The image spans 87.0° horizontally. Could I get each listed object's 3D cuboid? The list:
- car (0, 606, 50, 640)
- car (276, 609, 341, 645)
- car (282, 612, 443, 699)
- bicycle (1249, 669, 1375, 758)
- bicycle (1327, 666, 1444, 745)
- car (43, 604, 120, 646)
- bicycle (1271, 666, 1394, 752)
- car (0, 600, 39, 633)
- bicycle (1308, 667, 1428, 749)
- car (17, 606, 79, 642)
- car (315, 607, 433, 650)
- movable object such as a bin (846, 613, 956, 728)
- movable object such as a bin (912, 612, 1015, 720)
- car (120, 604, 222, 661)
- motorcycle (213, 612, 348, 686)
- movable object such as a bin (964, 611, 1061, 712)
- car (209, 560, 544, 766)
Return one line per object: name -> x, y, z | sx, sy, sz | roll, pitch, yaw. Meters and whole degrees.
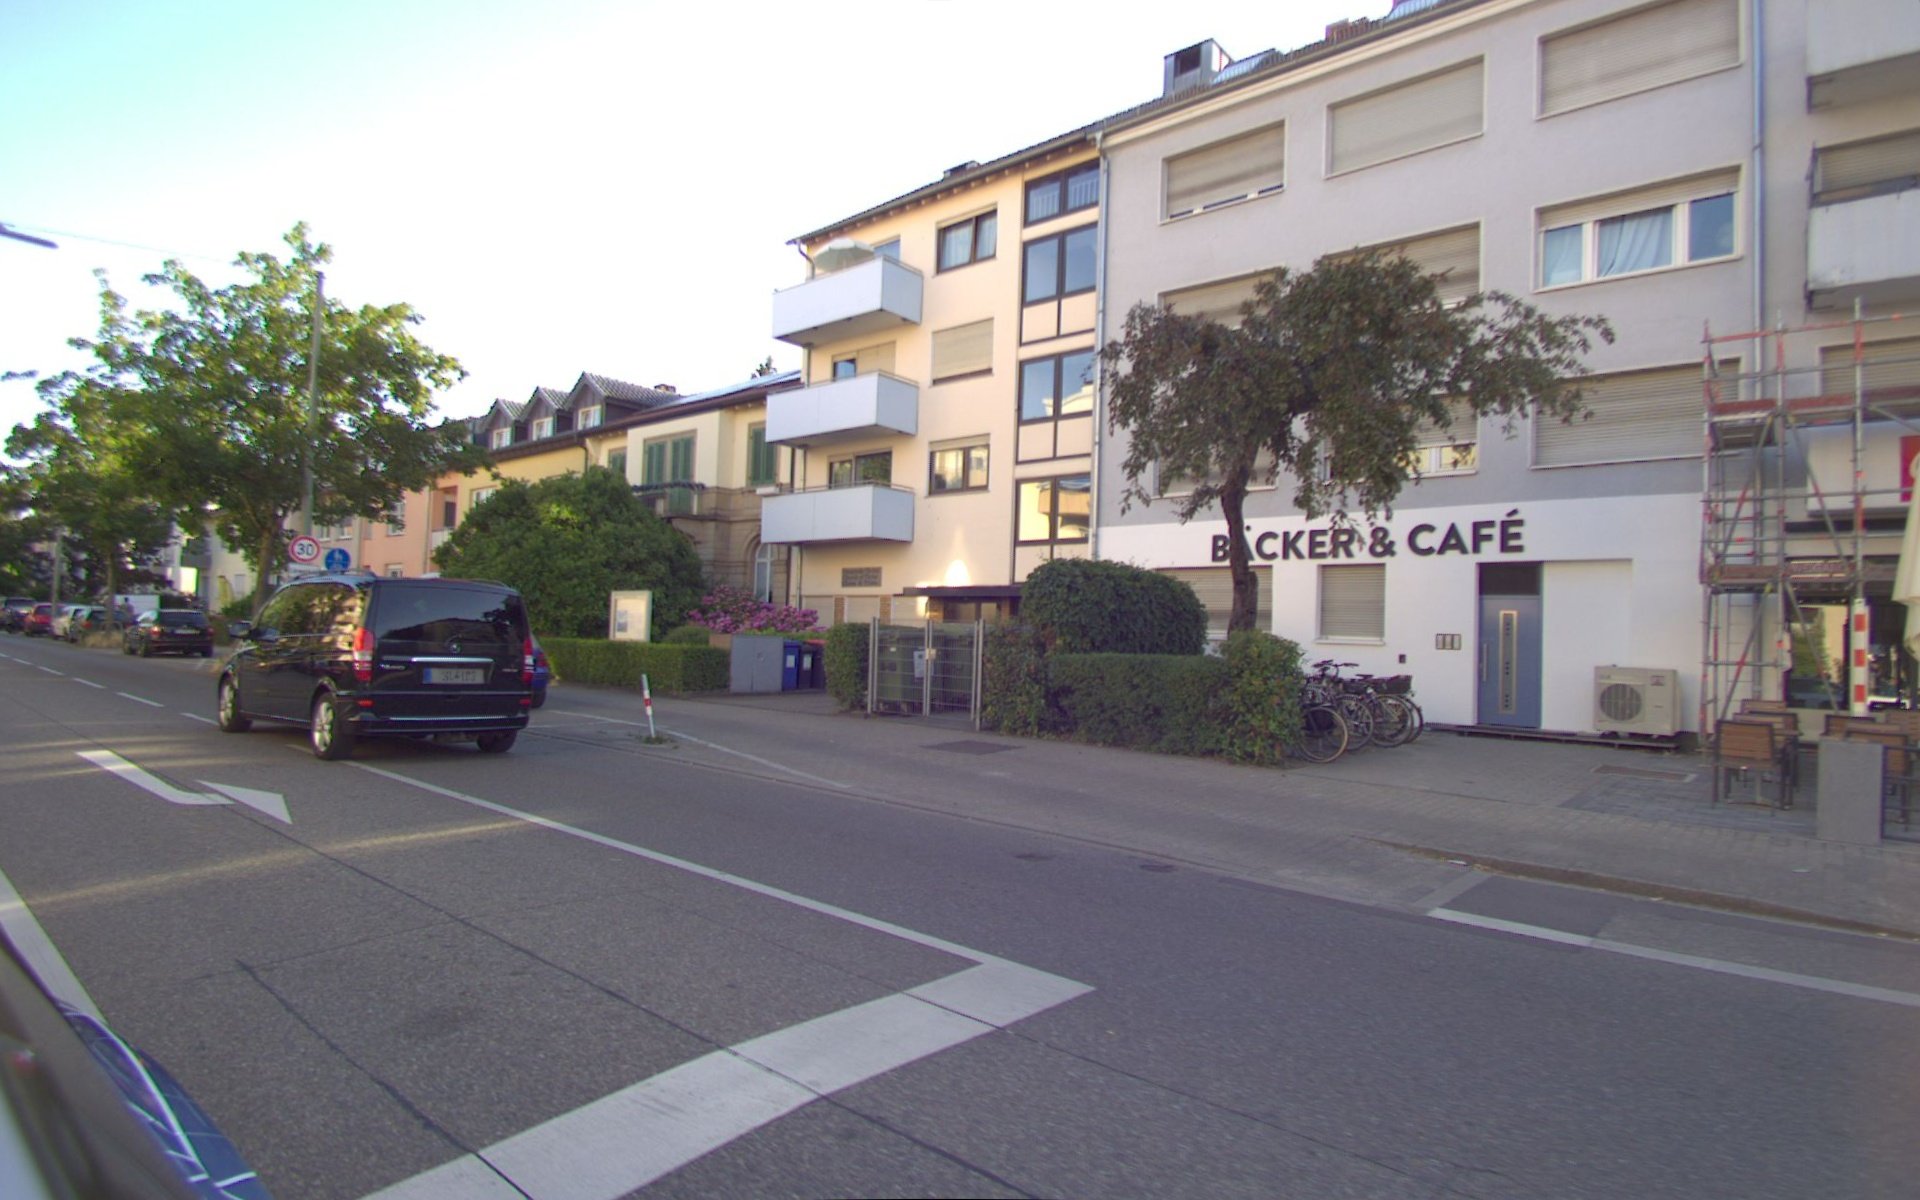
car -> -46.494, 1.121, 50.073 | 3.658, 1.575, 1.670 | 0, -3, 41
car -> -32.298, 1.325, 50.136 | 1.816, 1.626, 4.413 | 4, -3, -44
car -> -11.946, 1.059, 20.158 | 3.571, 1.547, 1.732 | 0, -3, 42
bicycle -> 4.530, 1.433, 13.080 | 1.477, 1.022, 0.433 | 0, -3, 44
bicycle -> 6.080, 1.483, 14.513 | 1.477, 1.022, 0.433 | 0, -3, 44
car -> -37.226, 1.043, 42.854 | 4.408, 1.626, 1.818 | 0, -3, 41
bicycle -> 4.952, 1.427, 13.509 | 1.477, 1.022, 0.433 | 0, -3, 44
car -> -51.907, 0.887, 55.437 | 3.658, 1.679, 1.670 | 0, -3, 41
bicycle -> 5.654, 1.470, 14.074 | 1.477, 1.022, 0.433 | 0, -3, 44
car -> -41.785, 1.094, 46.363 | 3.658, 1.575, 1.621 | 0, -3, 41
car -> -24.325, 1.231, 42.187 | 1.823, 1.626, 4.395 | 1, -2, 10
movable object such as a bin -> -0.933, 1.075, 16.055 | 1.180, 1.671, 1.292 | 1, 1, 40
movable object such as a bin -> 0.058, 1.063, 17.004 | 1.180, 1.671, 1.292 | 1, 1, 40
car -> -24.490, 0.990, 31.367 | 4.195, 1.626, 1.711 | 0, -3, 42
motorcycle -> -15.466, 1.096, 23.022 | 2.876, 1.547, 1.251 | 1, -3, 27
movable object such as a bin -> 0.936, 1.048, 18.021 | 1.180, 1.671, 1.292 | 1, 1, 40
car -> -6.699, 0.625, 11.422 | 4.406, 1.891, 1.818 | 0, -3, 40
